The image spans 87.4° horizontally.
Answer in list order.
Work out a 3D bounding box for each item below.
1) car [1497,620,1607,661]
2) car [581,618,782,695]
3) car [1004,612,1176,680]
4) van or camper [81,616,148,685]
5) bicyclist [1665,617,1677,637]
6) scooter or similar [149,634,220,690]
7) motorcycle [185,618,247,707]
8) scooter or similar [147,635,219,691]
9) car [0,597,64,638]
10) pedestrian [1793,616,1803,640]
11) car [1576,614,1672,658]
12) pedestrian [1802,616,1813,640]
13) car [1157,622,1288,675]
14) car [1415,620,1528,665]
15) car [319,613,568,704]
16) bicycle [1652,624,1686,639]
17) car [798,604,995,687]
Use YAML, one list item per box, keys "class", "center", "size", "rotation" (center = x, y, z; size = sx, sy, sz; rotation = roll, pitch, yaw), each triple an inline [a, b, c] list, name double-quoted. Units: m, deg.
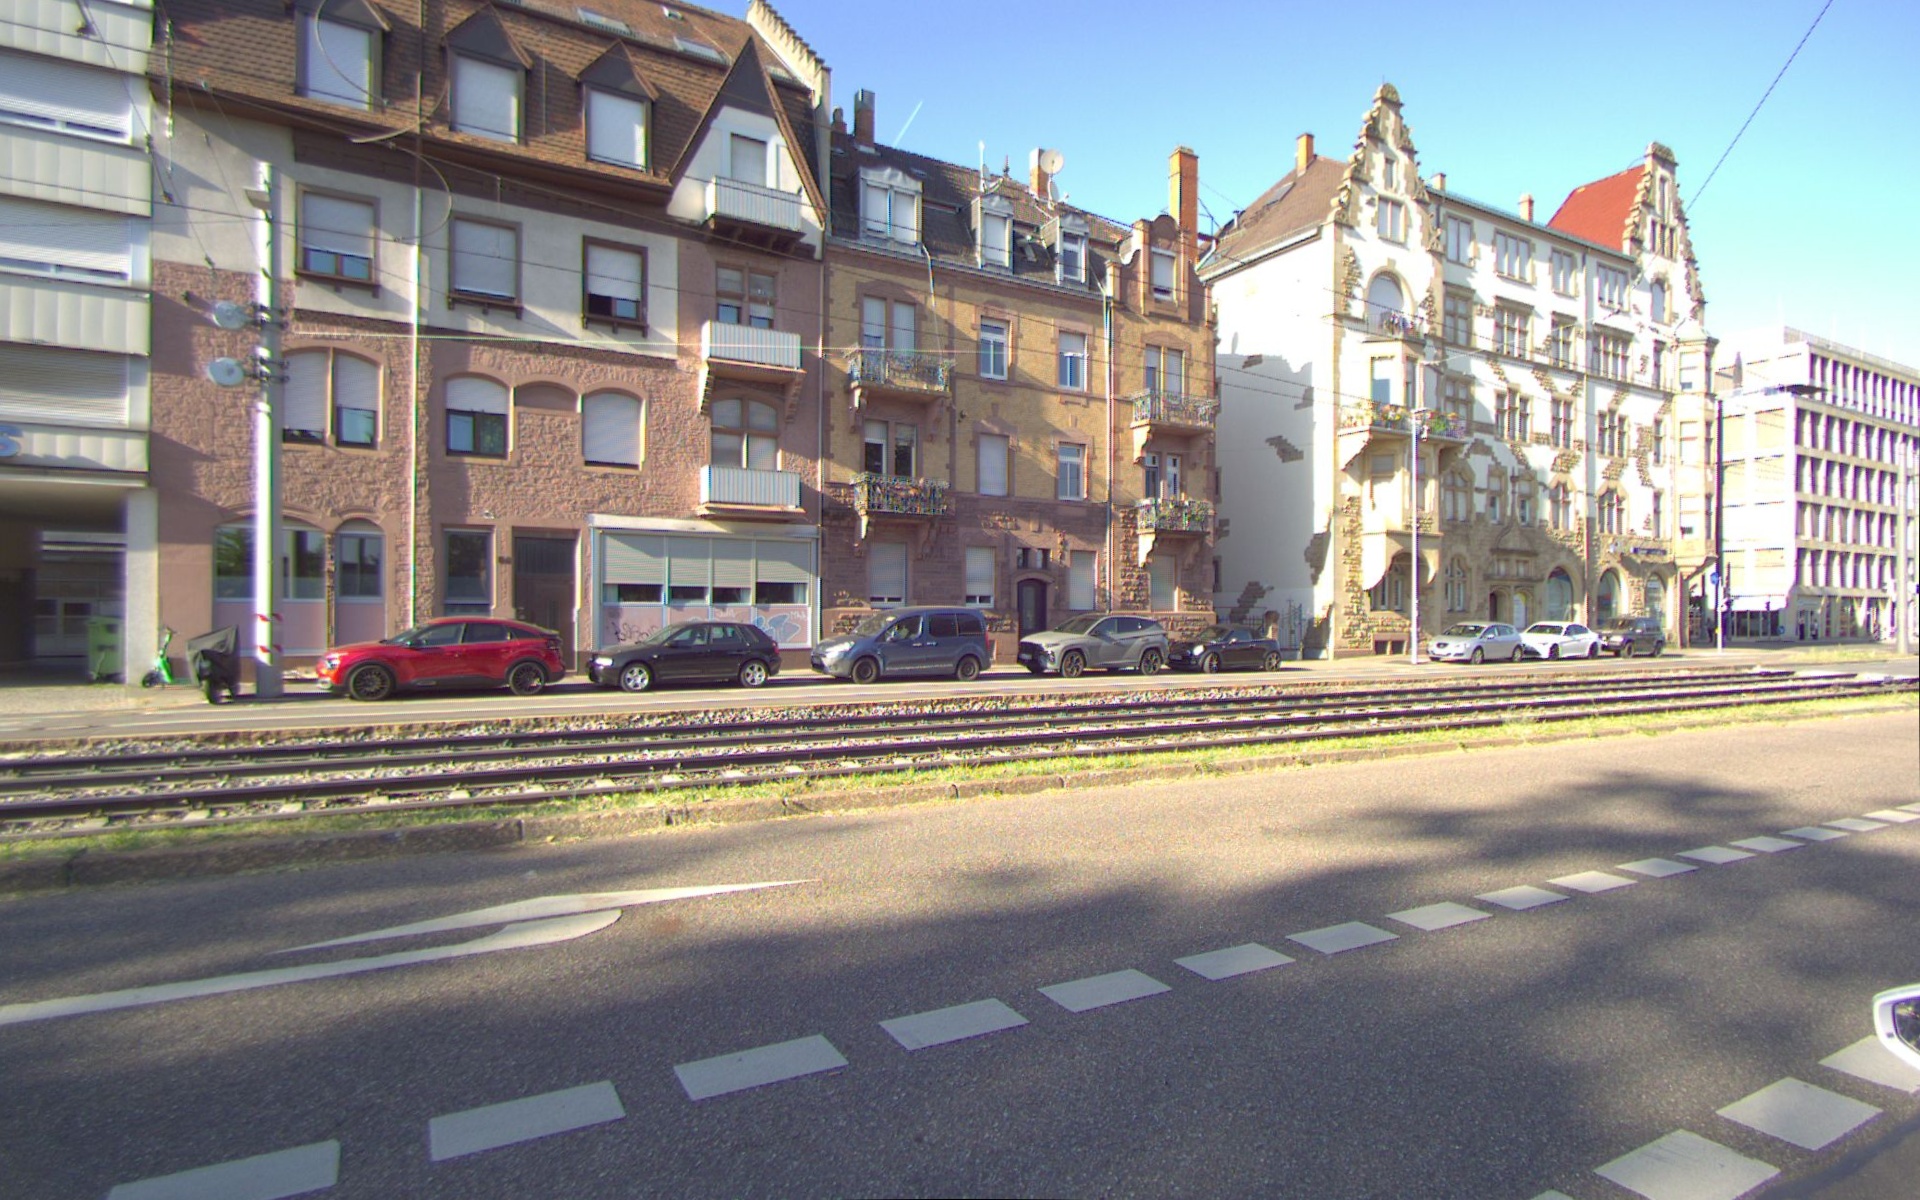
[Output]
- class: "car"
  center: [23.098, 1.530, 39.146]
  size: [4.603, 1.442, 1.707]
  rotation: [1, 1, -32]
- class: "car"
  center: [-5.987, 1.156, 21.673]
  size: [3.882, 1.457, 1.686]
  rotation: [1, 2, -31]
- class: "car"
  center: [3.556, 1.188, 27.336]
  size: [4.451, 1.645, 1.846]
  rotation: [1, 2, -31]
- class: "van or camper"
  center: [-17.598, 1.033, 20.943]
  size: [0.794, 1.375, 1.418]
  rotation: [0, -1, -30]
- class: "bicyclist"
  center: [61.191, 2.323, 86.421]
  size: [0.570, 1.708, 0.638]
  rotation: [1, -1, -30]
- class: "scooter or similar"
  center: [-15.478, 1.222, 20.067]
  size: [1.108, 1.083, 0.203]
  rotation: [0, 1, -30]
- class: "motorcycle"
  center: [-13.228, 1.070, 17.894]
  size: [0.621, 1.441, 1.847]
  rotation: [0, 2, -29]
- class: "scooter or similar"
  center: [-15.342, 1.234, 19.857]
  size: [1.108, 1.083, 0.203]
  rotation: [0, 1, -30]
- class: "car"
  center: [-54.918, 0.975, 56.347]
  size: [6.524, 2.288, 2.343]
  rotation: [1, -1, -31]
- class: "pedestrian"
  center: [65.245, 2.207, 78.233]
  size: [0.464, 1.868, 0.443]
  rotation: [-1, -1, 23]
- class: "car"
  center: [27.649, 1.445, 41.808]
  size: [4.169, 1.698, 1.707]
  rotation: [1, 1, -32]
- class: "pedestrian"
  center: [65.699, 2.196, 77.849]
  size: [0.522, 1.868, 0.443]
  rotation: [-1, -1, 23]
- class: "car"
  center: [7.762, 1.396, 29.694]
  size: [3.683, 1.373, 1.614]
  rotation: [1, 2, -31]
- class: "car"
  center: [18.403, 1.503, 36.083]
  size: [4.177, 1.450, 1.699]
  rotation: [1, 1, -32]
- class: "car"
  center: [-10.020, 1.068, 19.642]
  size: [4.162, 1.519, 1.846]
  rotation: [1, 2, -31]
- class: "bicycle"
  center: [61.102, 2.727, 86.567]
  size: [0.570, 1.231, 2.370]
  rotation: [1, -1, -29]
- class: "car"
  center: [-1.521, 1.039, 24.311]
  size: [4.361, 1.782, 1.878]
  rotation: [1, 2, -28]
